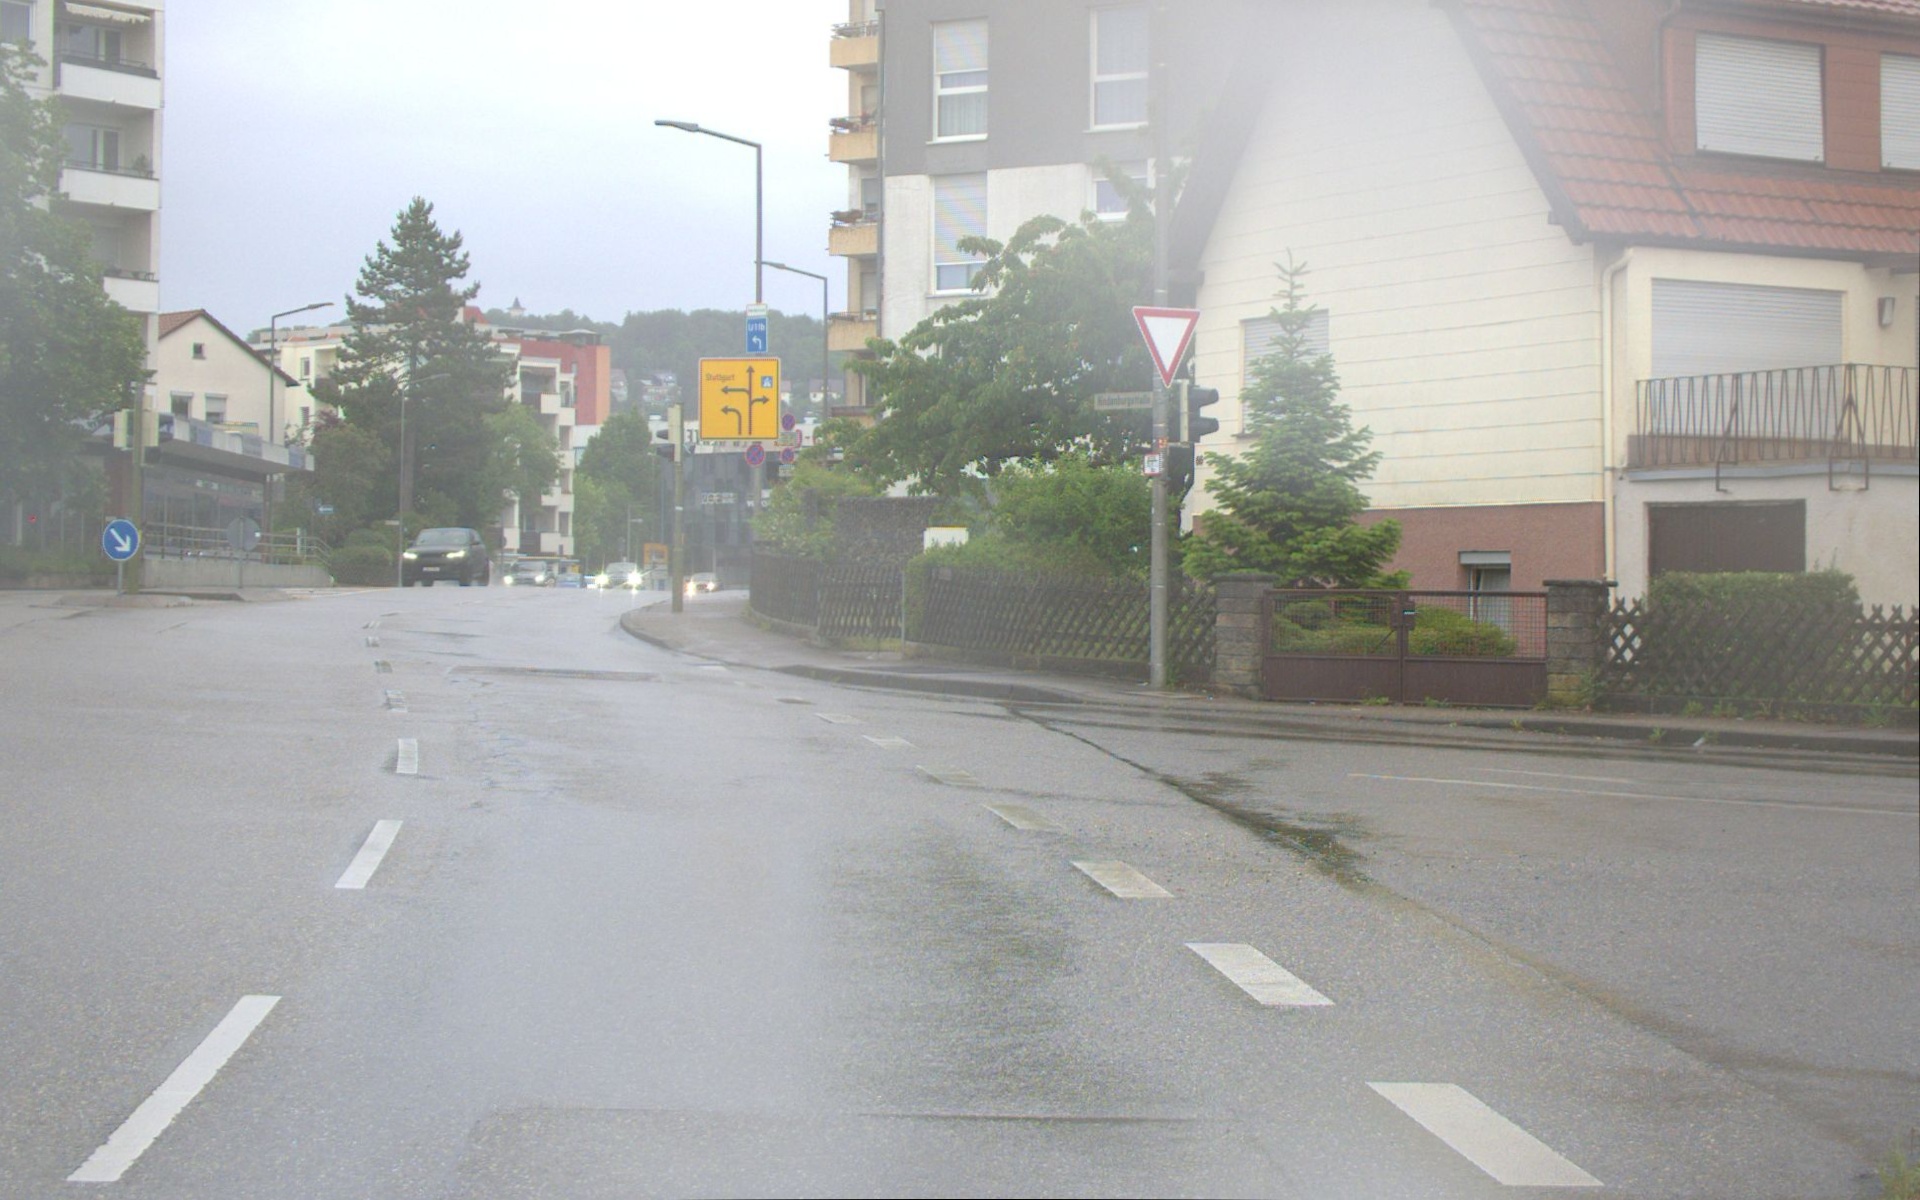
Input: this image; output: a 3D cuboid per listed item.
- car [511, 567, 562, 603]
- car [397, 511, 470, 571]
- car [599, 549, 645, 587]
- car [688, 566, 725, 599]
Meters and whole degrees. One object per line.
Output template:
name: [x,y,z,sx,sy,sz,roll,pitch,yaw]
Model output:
car: [-17.954,-0.640,145.793,1.993,1.458,4.001,1,1,-5]
car: [-16.005,-1.779,104.736,1.993,1.731,5.182,1,1,-7]
car: [-15.141,-1.429,153.954,1.993,1.673,4.001,1,1,-5]
car: [-14.327,-0.988,193.924,1.993,1.805,4.001,1,1,-5]
